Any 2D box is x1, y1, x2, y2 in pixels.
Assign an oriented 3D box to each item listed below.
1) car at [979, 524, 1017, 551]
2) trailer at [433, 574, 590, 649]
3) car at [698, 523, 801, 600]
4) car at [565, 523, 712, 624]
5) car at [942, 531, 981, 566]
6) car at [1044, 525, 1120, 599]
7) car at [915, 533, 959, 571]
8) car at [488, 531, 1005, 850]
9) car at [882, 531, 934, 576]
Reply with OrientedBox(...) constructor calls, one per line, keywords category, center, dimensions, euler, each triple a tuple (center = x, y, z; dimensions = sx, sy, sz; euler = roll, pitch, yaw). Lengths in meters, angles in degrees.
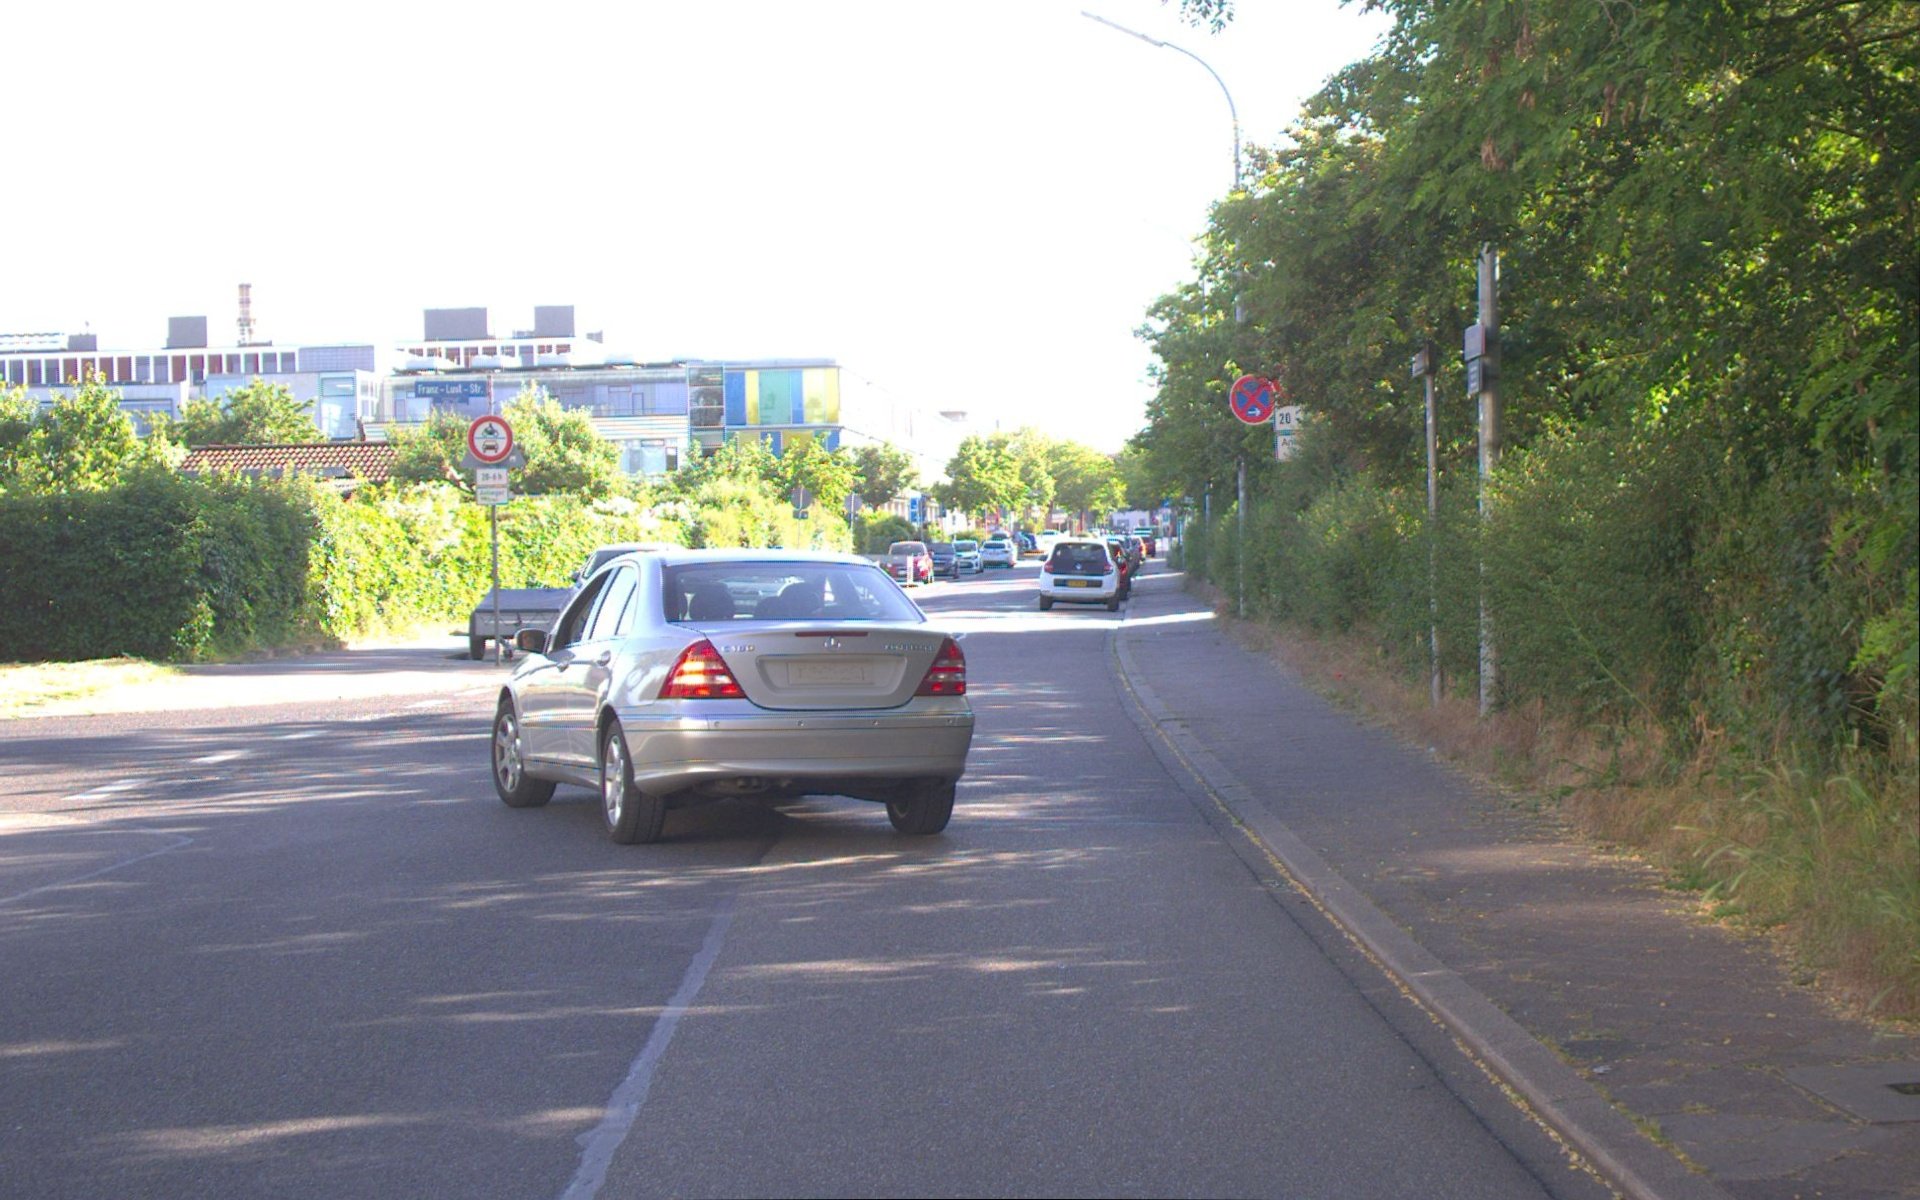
OrientedBox(category="car", center=(2.072, -3.368, 185.531), dimensions=(1.854, 1.423, 4.134), euler=(0, 1, 3))
OrientedBox(category="trailer", center=(-6.030, 0.138, 46.443), dimensions=(1.544, 0.950, 2.647), euler=(0, 1, 6))
OrientedBox(category="car", center=(-4.472, -0.839, 73.608), dimensions=(1.643, 1.551, 4.417), euler=(-2, 1, 3))
OrientedBox(category="car", center=(-5.222, -0.461, 56.385), dimensions=(1.644, 1.594, 4.311), euler=(0, 1, 5))
OrientedBox(category="car", center=(0.081, -2.354, 156.265), dimensions=(1.560, 1.489, 3.758), euler=(-2, 1, 3))
OrientedBox(category="car", center=(2.647, -0.833, 73.998), dimensions=(1.556, 1.533, 3.555), euler=(1, 1, 3))
OrientedBox(category="car", center=(-0.923, -1.968, 139.254), dimensions=(1.560, 1.489, 3.570), euler=(1, 1, 3))
OrientedBox(category="car", center=(-1.234, 0.377, 17.890), dimensions=(1.737, 1.448, 4.001), euler=(-1, 1, -18))
OrientedBox(category="car", center=(-1.811, -1.652, 120.969), dimensions=(1.560, 1.489, 3.570), euler=(-2, 1, 3))
